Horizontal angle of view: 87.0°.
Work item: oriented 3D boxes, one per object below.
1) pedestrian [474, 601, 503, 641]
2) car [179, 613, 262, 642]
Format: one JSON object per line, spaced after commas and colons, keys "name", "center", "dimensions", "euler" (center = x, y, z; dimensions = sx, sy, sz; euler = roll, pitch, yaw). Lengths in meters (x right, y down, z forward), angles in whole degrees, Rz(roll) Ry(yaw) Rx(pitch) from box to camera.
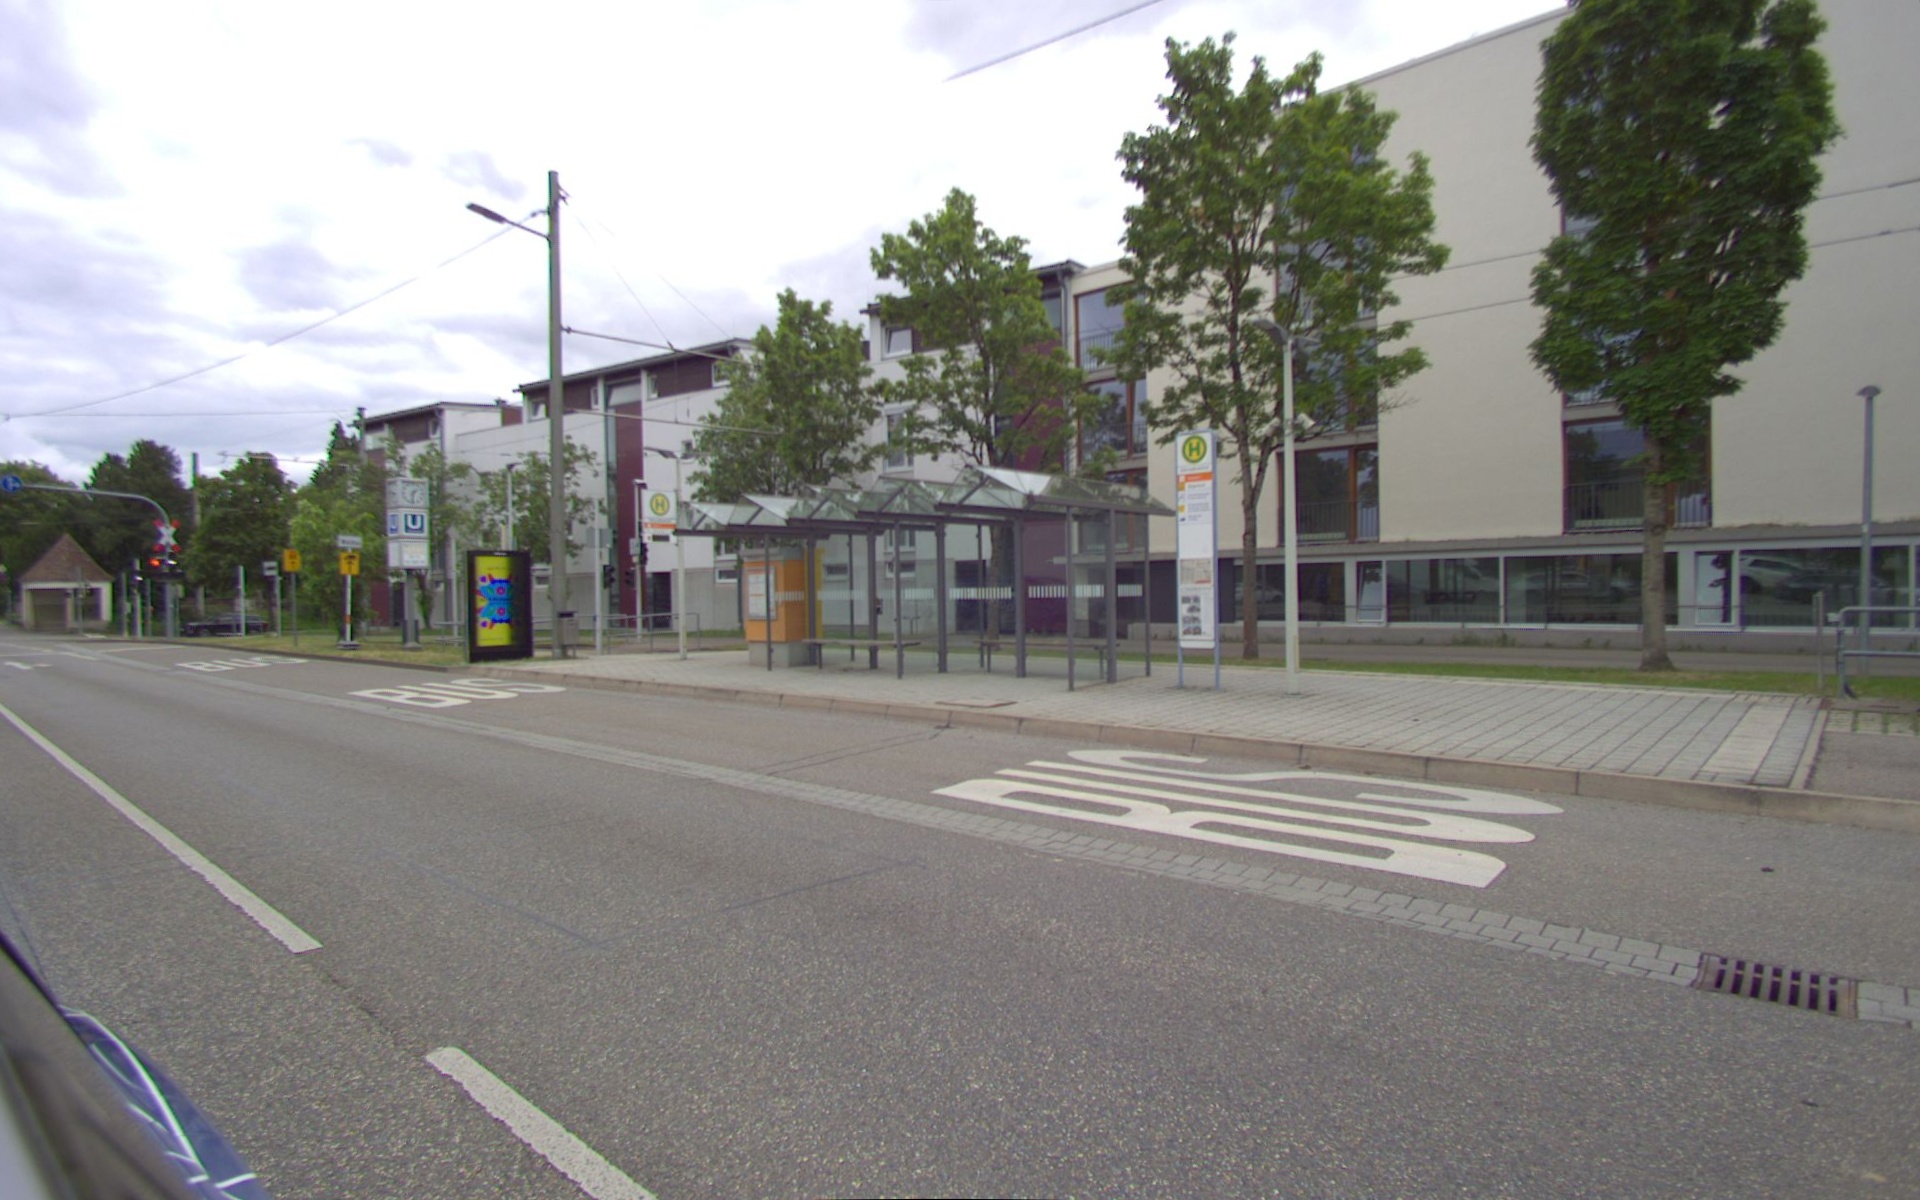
{"name": "pedestrian", "center": [-19.534, 0.862, 41.958], "dimensions": [0.778, 1.607, 0.773], "euler": [-1, 0, 33]}
{"name": "car", "center": [-47.877, 1.758, 65.589], "dimensions": [1.926, 1.719, 3.948], "euler": [-1, 1, 39]}
